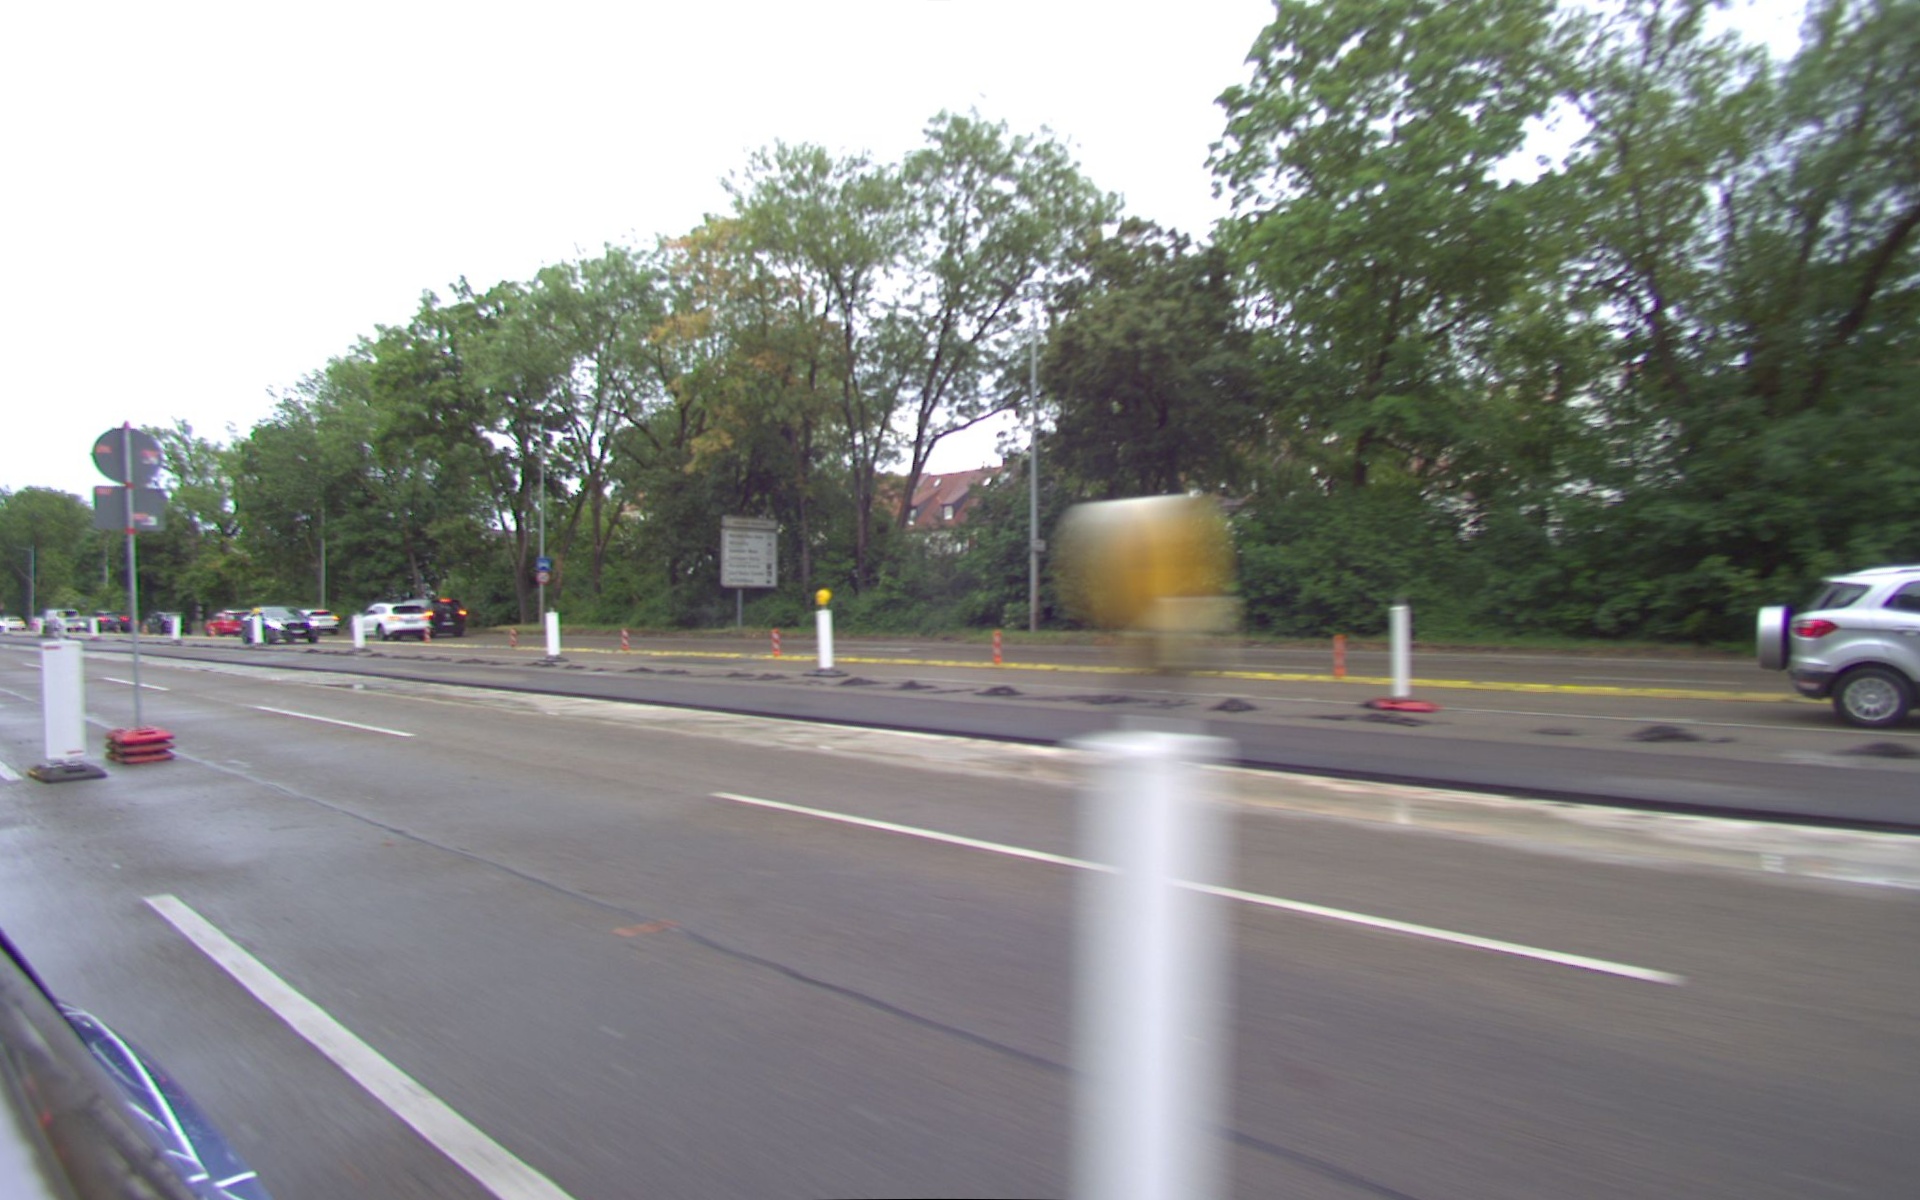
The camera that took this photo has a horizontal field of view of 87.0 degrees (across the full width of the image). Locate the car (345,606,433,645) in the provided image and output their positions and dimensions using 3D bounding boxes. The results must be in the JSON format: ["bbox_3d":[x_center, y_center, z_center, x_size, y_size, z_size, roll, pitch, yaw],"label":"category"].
[{"bbox_3d":[-25.868,1.137,45.794,4.889,1.674,1.871,-1,0,40],"label":"car"}]

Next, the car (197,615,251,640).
[{"bbox_3d":[-43.841,1.633,60.253,4.010,1.411,1.662,-1,0,40],"label":"car"}]

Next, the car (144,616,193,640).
[{"bbox_3d":[-53.833,1.903,68.795,4.193,1.499,1.758,-1,0,40],"label":"car"}]

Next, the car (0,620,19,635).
[{"bbox_3d":[-97.539,2.817,102.848,4.384,1.426,1.976,0,-1,36],"label":"car"}]

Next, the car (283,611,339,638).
[{"bbox_3d":[-38.333,1.439,59.744,4.146,1.508,1.662,-1,-2,40],"label":"car"}]

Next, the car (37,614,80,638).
[{"bbox_3d":[-79.386,2.298,89.082,4.895,1.987,1.975,-1,0,38],"label":"car"}]

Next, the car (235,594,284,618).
[{"bbox_3d":[-49.526,0.446,71.553,4.414,1.639,1.686,-1,0,39],"label":"car"}]

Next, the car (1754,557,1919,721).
[{"bbox_3d":[10.544,0.330,9.784,4.363,1.576,1.868,-2,0,43],"label":"car"}]

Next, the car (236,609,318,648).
[{"bbox_3d":[-30.980,1.264,45.874,4.810,1.641,1.972,-1,0,42],"label":"car"}]

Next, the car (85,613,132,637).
[{"bbox_3d":[-66.406,1.988,78.911,5.009,1.738,2.001,-2,0,40],"label":"car"}]
